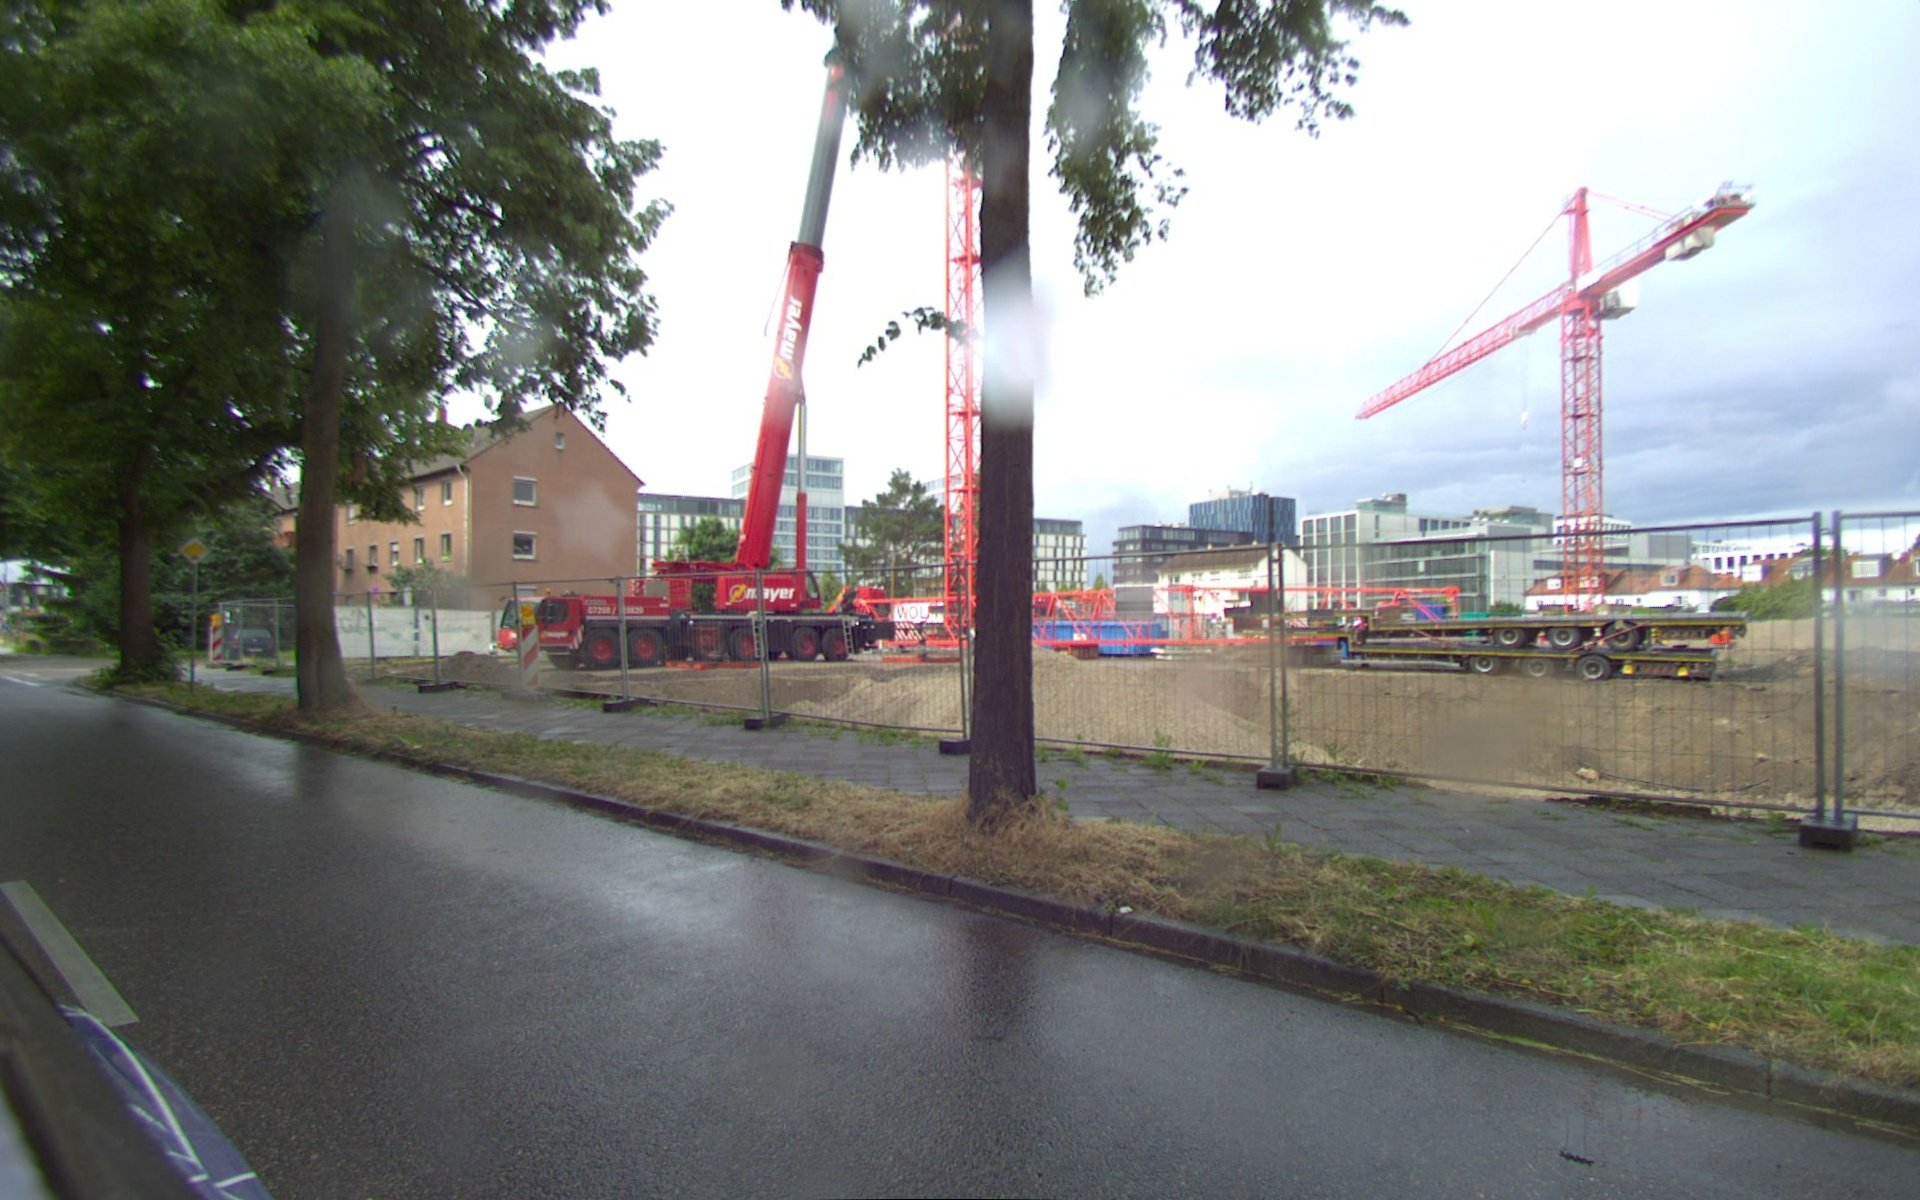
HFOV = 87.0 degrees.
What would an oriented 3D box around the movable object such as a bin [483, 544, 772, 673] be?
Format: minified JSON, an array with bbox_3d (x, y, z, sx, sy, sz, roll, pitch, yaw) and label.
[{"bbox_3d":[-11.880,0.386,37.172,3.366,4.147,9.704,-3,-3,43],"label":"movable object such as a bin"}]

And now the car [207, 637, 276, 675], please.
[{"bbox_3d":[-30.777,2.361,43.309,3.869,1.431,1.607,0,0,42],"label":"car"}]

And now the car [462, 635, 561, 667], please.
[{"bbox_3d":[-20.942,2.343,47.364,1.721,1.424,4.026,-1,-2,29],"label":"car"}]
